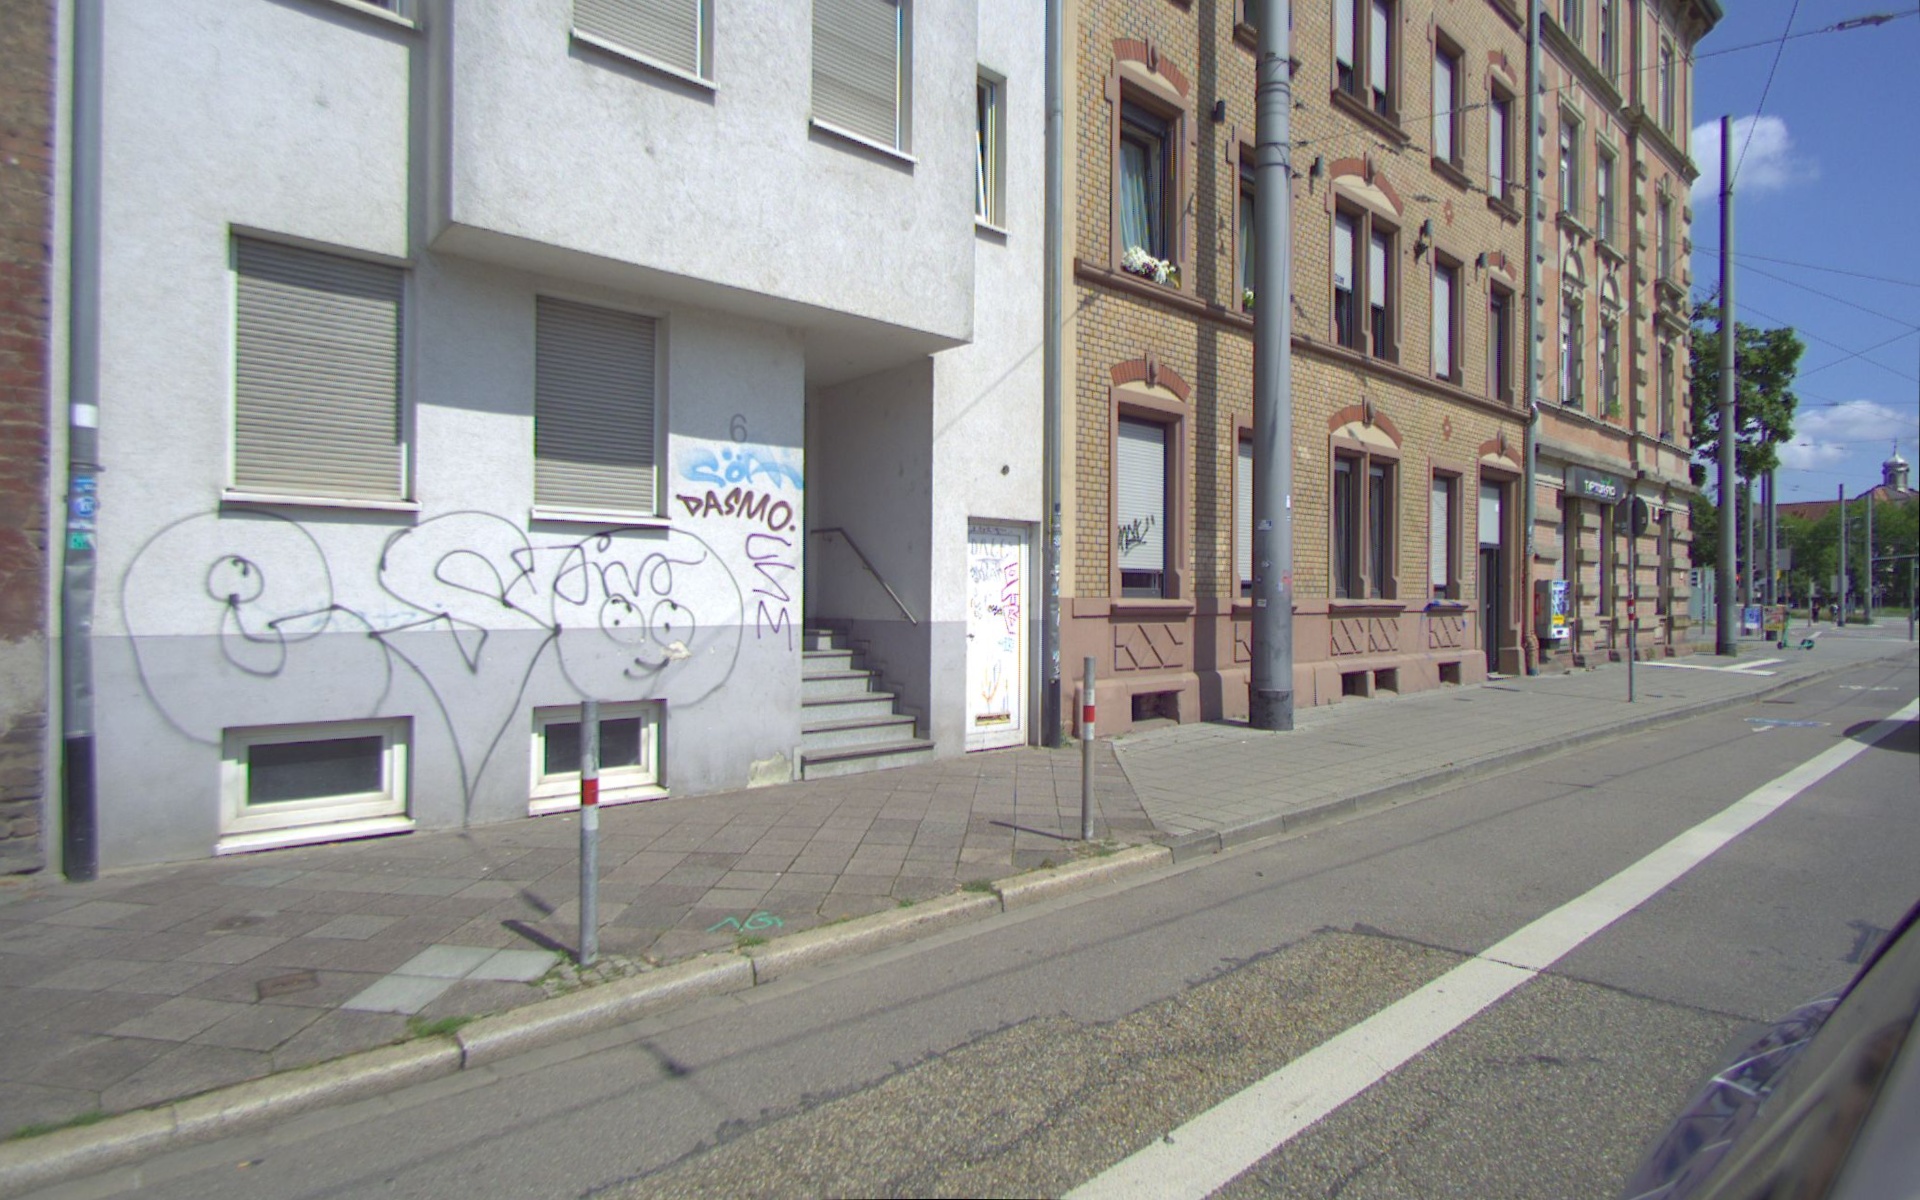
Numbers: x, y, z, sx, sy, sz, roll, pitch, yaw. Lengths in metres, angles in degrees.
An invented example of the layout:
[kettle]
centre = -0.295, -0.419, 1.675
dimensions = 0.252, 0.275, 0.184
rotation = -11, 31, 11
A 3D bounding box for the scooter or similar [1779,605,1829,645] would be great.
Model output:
[scooter or similar]
centre = 26.141, 0.769, 31.347
dimensions = 1.065, 1.194, 0.951
rotation = 0, 1, -35
